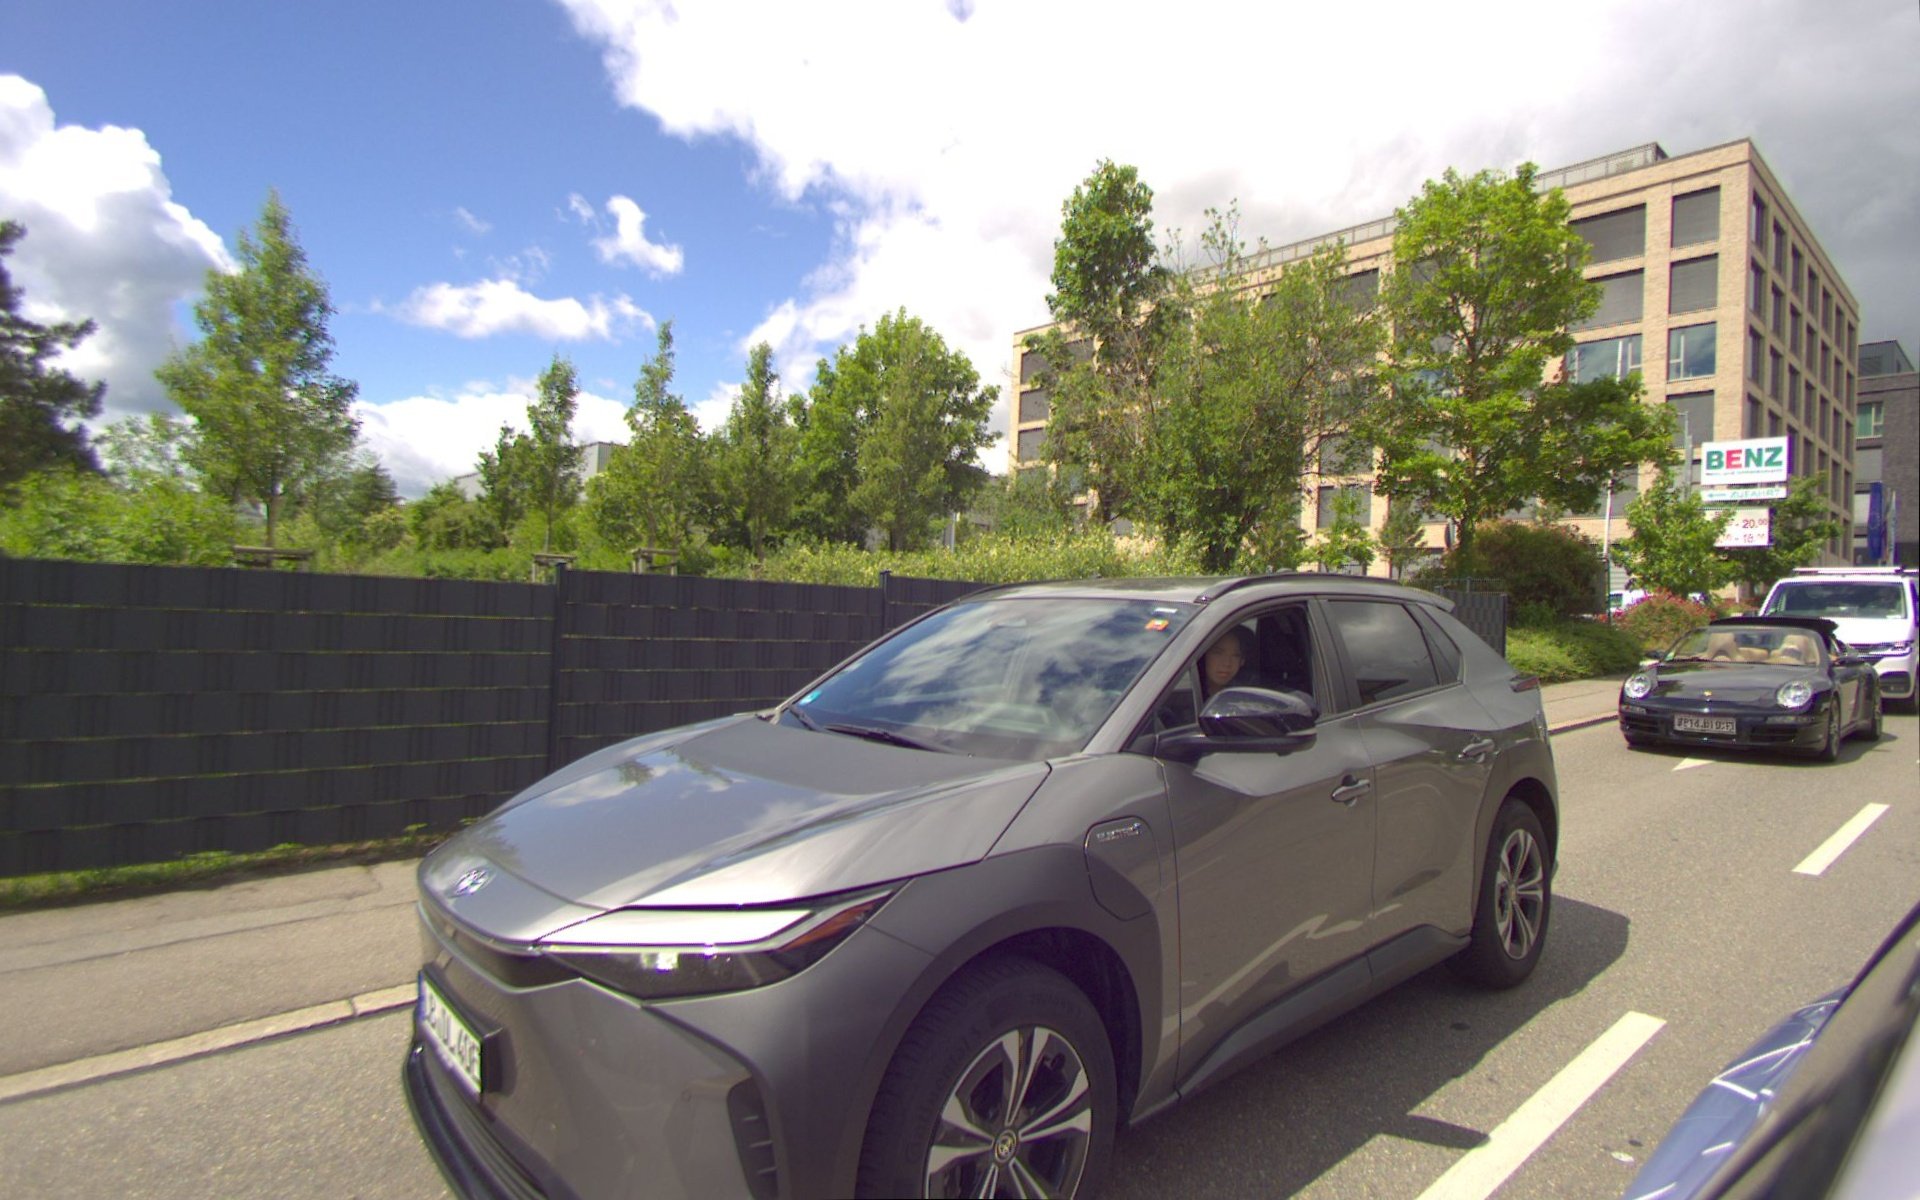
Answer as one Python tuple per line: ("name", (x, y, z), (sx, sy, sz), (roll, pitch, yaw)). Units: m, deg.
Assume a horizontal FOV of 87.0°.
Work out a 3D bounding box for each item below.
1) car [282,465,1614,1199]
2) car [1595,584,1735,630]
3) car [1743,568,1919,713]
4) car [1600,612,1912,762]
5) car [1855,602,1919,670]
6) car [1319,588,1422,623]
("car", (0.470, 0.652, 3.604), (4.601, 1.634, 1.922), (0, -1, -41))
("car", (27.357, 0.245, 39.345), (1.707, 1.596, 4.211), (1, 1, -44))
("car", (13.549, 0.538, 15.214), (4.563, 1.874, 1.962), (0, -1, -41))
("car", (8.748, 0.784, 10.978), (4.487, 1.290, 1.776), (0, -1, -40))
("car", (20.503, 0.722, 21.234), (4.485, 1.290, 1.778), (0, 1, -38))
("car", (19.329, 0.235, 47.796), (1.705, 1.436, 4.215), (1, 1, -41))
